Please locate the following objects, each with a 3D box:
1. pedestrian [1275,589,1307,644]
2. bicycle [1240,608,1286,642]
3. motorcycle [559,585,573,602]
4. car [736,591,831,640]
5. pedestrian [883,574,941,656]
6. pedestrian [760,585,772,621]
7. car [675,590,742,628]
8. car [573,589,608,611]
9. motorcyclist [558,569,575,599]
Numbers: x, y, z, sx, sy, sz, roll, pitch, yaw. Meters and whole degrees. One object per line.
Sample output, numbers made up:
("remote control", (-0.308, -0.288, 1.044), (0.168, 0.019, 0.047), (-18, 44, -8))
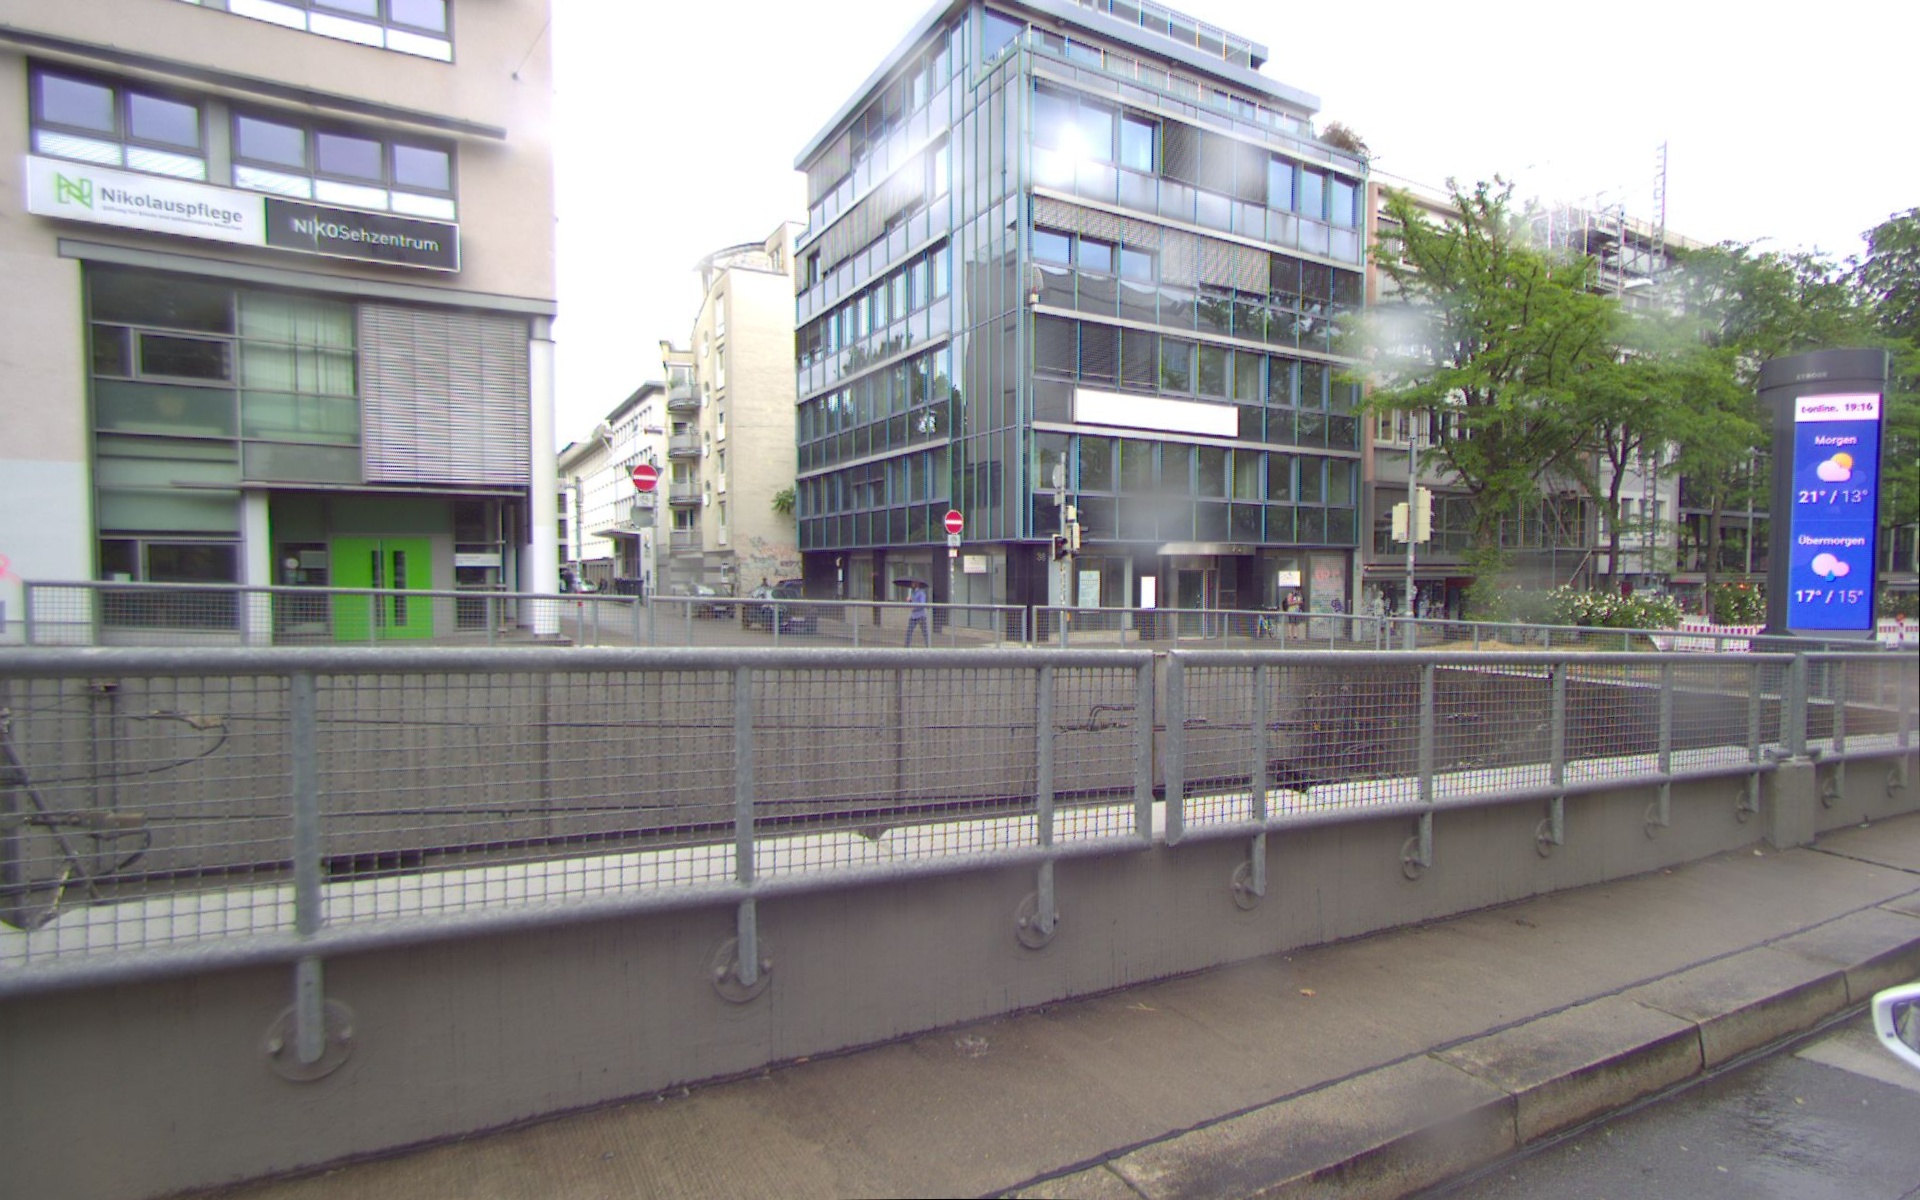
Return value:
("pedestrian", (10.954, 0.548, 33.235), (0.688, 1.765, 0.691), (1, 2, -36))
("bicycle", (9.874, 0.814, 32.728), (1.544, 1.100, 0.444), (1, 1, -27))
("motorcycle", (-24.440, -0.407, 62.321), (0.696, 0.984, 0.977), (1, 2, -29))
("car", (-6.236, 0.500, 35.174), (1.977, 1.578, 3.966), (1, 0, -31))
("pedestrian", (-1.132, 0.338, 23.464), (1.047, 1.863, 0.853), (1, 2, -30))
("pedestrian", (-9.100, 0.152, 47.150), (0.443, 1.664, 0.326), (1, 2, -35))
("car", (-11.102, 0.358, 44.112), (1.777, 1.578, 3.966), (1, 0, -31))
("car", (-27.980, -0.008, 76.018), (1.777, 1.578, 3.967), (1, 0, -30))
("motorcyclist", (-24.410, -1.003, 62.281), (0.850, 1.832, 1.007), (1, 2, -29))
